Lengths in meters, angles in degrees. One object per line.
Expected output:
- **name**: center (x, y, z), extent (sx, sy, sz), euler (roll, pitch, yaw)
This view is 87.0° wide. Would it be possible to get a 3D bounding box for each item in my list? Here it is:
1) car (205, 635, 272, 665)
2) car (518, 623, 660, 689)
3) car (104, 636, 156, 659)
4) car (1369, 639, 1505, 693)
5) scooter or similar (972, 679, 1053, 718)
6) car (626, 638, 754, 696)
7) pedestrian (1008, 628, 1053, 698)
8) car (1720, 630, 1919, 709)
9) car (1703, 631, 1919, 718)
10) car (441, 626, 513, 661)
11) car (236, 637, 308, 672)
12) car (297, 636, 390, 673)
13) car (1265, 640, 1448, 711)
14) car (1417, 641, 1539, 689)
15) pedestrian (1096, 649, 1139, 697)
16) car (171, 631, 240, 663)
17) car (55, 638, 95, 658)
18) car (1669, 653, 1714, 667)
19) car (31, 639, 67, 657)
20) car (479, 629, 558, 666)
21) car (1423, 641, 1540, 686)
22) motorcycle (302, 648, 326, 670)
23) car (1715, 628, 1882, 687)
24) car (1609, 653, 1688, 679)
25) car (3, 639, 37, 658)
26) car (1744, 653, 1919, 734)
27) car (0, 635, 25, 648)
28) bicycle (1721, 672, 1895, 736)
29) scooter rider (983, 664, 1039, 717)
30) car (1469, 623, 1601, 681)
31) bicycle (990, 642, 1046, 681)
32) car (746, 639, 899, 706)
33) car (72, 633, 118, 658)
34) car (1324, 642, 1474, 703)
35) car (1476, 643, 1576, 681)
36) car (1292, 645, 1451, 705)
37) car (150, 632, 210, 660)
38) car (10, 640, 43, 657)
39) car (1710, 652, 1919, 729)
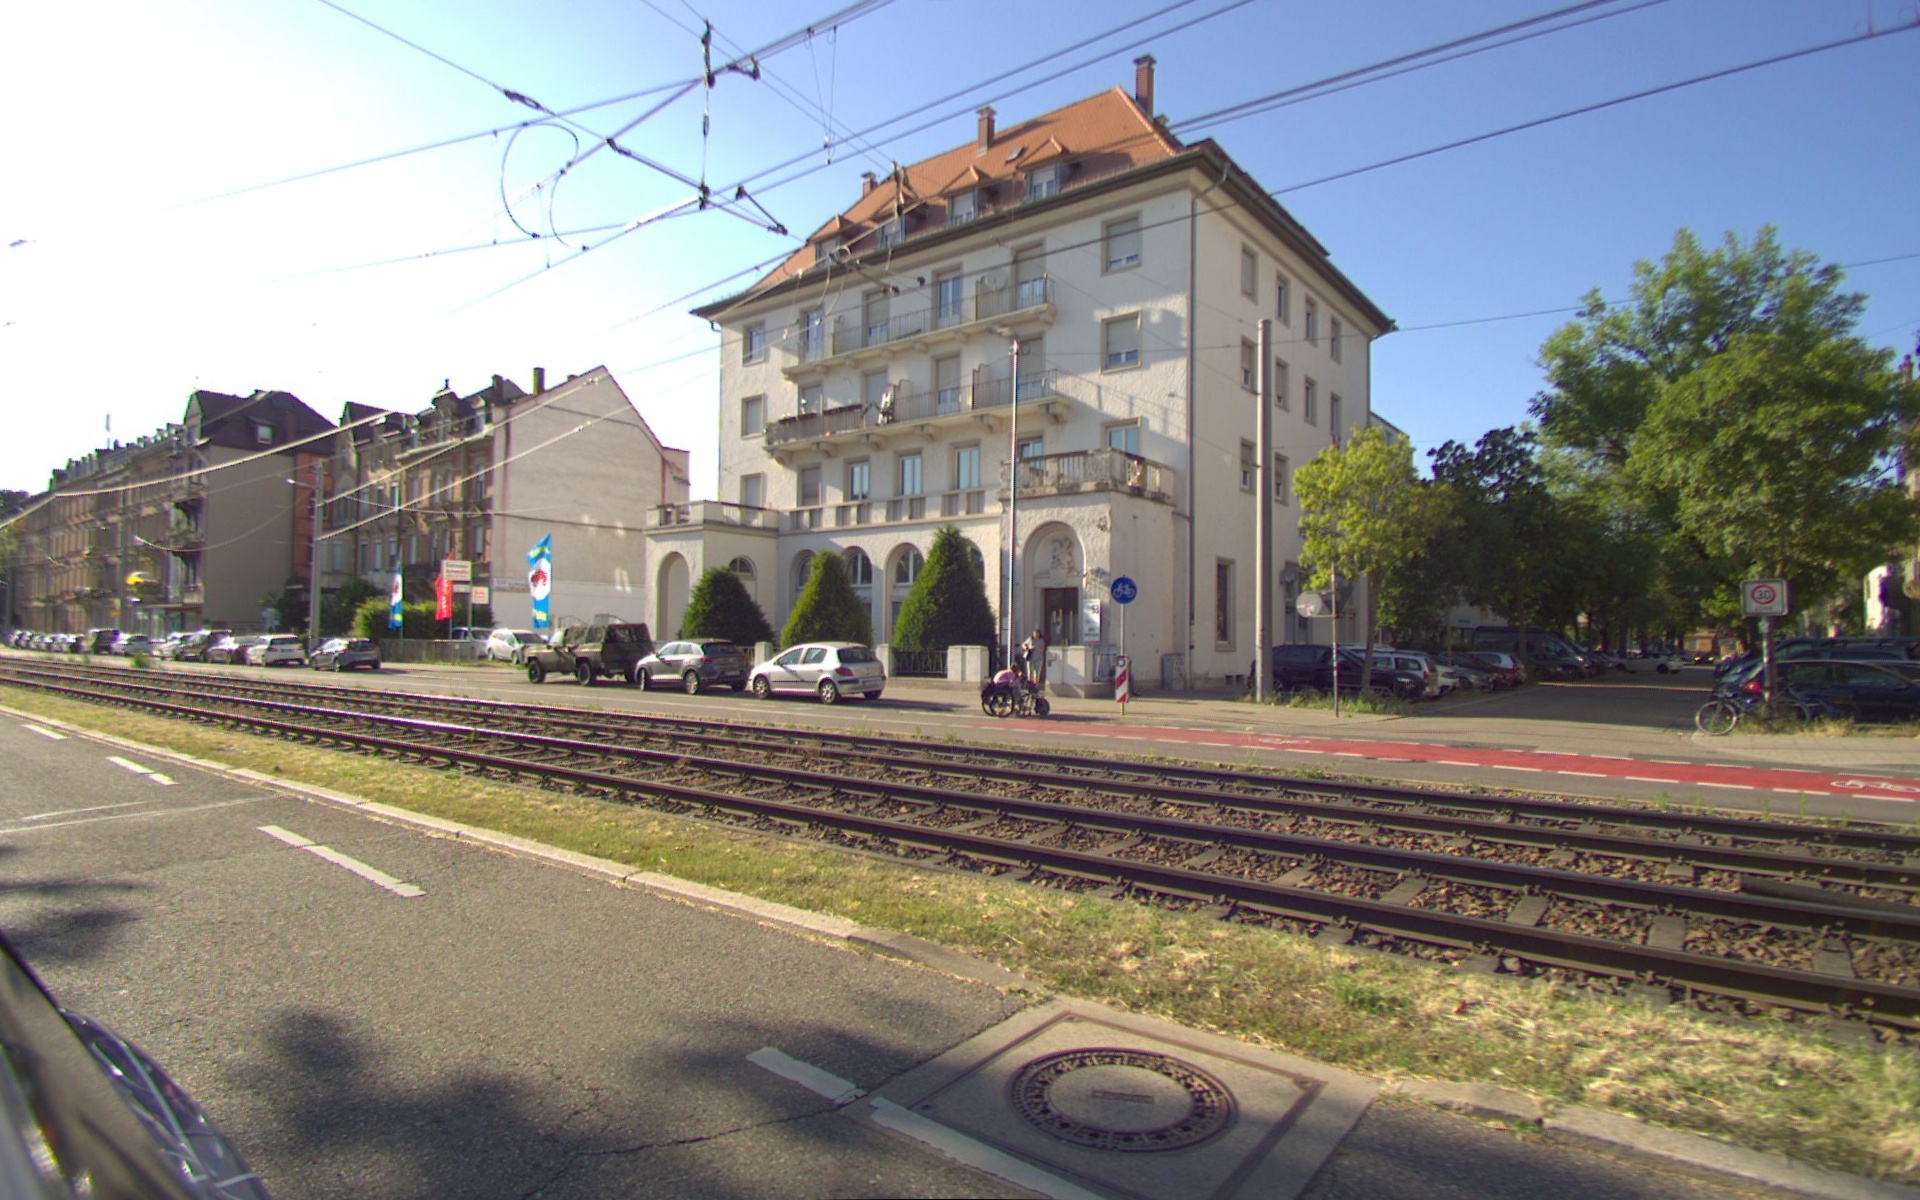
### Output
- **car**: center (-39.604, 2.726, 55.536), extent (4.839, 1.573, 1.901), euler (-2, -2, 41)
- **car**: center (-12.618, 1.822, 34.208), extent (5.588, 2.025, 2.056), euler (-2, -2, 41)
- **car**: center (-58.362, 3.286, 71.113), extent (4.622, 1.550, 1.902), euler (-1, -2, 39)
- **car**: center (16.608, 2.268, 35.304), extent (3.995, 1.671, 1.777), euler (0, -3, 38)
- **scooter or similar**: center (1.127, 2.113, 21.748), extent (1.542, 0.776, 0.810), euler (2, -4, -20)
- **car**: center (-8.035, 1.921, 29.942), extent (4.156, 1.519, 1.618), euler (-1, -1, 41)
- **pedestrian**: center (1.886, 1.665, 27.127), extent (0.929, 1.791, 0.986), euler (0, -1, 24)
- **car**: center (25.164, 1.982, 29.395), extent (4.888, 2.056, 2.039), euler (0, -3, 37)
- **car**: center (23.015, 1.957, 27.220), extent (4.888, 2.056, 2.039), euler (0, -3, 37)
- **car**: center (-26.217, 2.335, 54.842), extent (4.561, 1.668, 1.883), euler (0, -3, 42)
- **car**: center (-35.324, 2.758, 51.905), extent (4.839, 1.707, 1.901), euler (-2, -2, 41)
- **car**: center (-28.084, 2.456, 46.048), extent (4.834, 1.471, 1.903), euler (-2, 2, 37)
- **car**: center (10.649, 1.974, 27.323), extent (4.256, 1.653, 1.777), euler (0, -3, 38)
- **car**: center (20.194, 2.517, 39.528), extent (3.995, 1.671, 1.777), euler (0, -3, 38)
- **pedestrian**: center (4.202, 1.925, 27.001), extent (0.892, 1.196, 0.870), euler (0, -1, 31)
- **car**: center (-44.280, 2.750, 59.361), extent (4.487, 1.794, 1.904), euler (-2, -2, 35)
- **car**: center (-68.220, 3.671, 78.015), extent (3.976, 1.457, 1.643), euler (-2, -2, 39)
- **car**: center (85.790, 7.033, 118.738), extent (1.771, 1.522, 4.008), euler (4, -3, -38)
- **car**: center (-76.438, 4.035, 84.911), extent (3.976, 1.457, 1.643), euler (-2, -2, 39)
- **car**: center (-22.208, 2.356, 50.871), extent (4.561, 1.668, 1.883), euler (0, -3, 42)
- **car**: center (21.433, 2.587, 41.651), extent (3.995, 1.671, 1.777), euler (0, -3, 38)
- **motorcycle**: center (-31.462, 2.871, 49.301), extent (0.815, 0.961, 2.156), euler (1, -1, -37)
- **car**: center (32.559, 2.222, 39.512), extent (4.888, 2.056, 2.039), euler (0, -3, 37)
- **car**: center (45.721, 4.357, 67.226), extent (1.771, 1.522, 4.008), euler (4, -3, -38)
- **car**: center (-87.497, 4.479, 94.181), extent (4.628, 1.655, 1.775), euler (-2, -2, 41)
- **car**: center (19.009, 1.924, 20.948), extent (4.234, 1.475, 1.758), euler (0, -1, 34)
- **car**: center (-117.995, 5.091, 124.545), extent (3.931, 1.522, 1.805), euler (0, -1, -31)
- **bicycle**: center (15.603, 1.888, 18.704), extent (2.411, 1.023, 0.677), euler (-2, -2, 41)
- **scooter rider**: center (1.091, 1.943, 21.741), extent (0.962, 1.097, 0.810), euler (2, -4, -20)
- **car**: center (28.994, 2.585, 51.093), extent (5.587, 2.705, 2.251), euler (0, -3, 36)
- **bicycle**: center (1.684, 1.778, 29.541), extent (1.619, 1.096, 0.460), euler (0, -1, 31)
- **car**: center (-3.648, 1.839, 26.568), extent (3.997, 1.522, 1.776), euler (-1, -1, 40)
- **car**: center (-63.789, 3.337, 74.618), extent (4.720, 1.821, 1.644), euler (-2, -2, 37)
- **car**: center (13.740, 2.227, 31.779), extent (3.995, 1.671, 1.777), euler (0, -3, 38)
- **car**: center (27.362, 2.983, 48.974), extent (3.995, 1.671, 1.777), euler (0, -3, 38)
- **car**: center (12.053, 2.169, 29.753), extent (3.995, 1.522, 1.777), euler (0, -3, 38)
- **car**: center (-48.250, 2.822, 62.587), extent (4.622, 1.696, 1.902), euler (-2, -3, 39)
- **car**: center (-84.026, 4.383, 91.058), extent (3.760, 1.457, 1.643), euler (-2, -2, 39)
- **car**: center (20.388, 2.067, 23.380), extent (4.890, 1.522, 2.038), euler (0, -3, 38)
